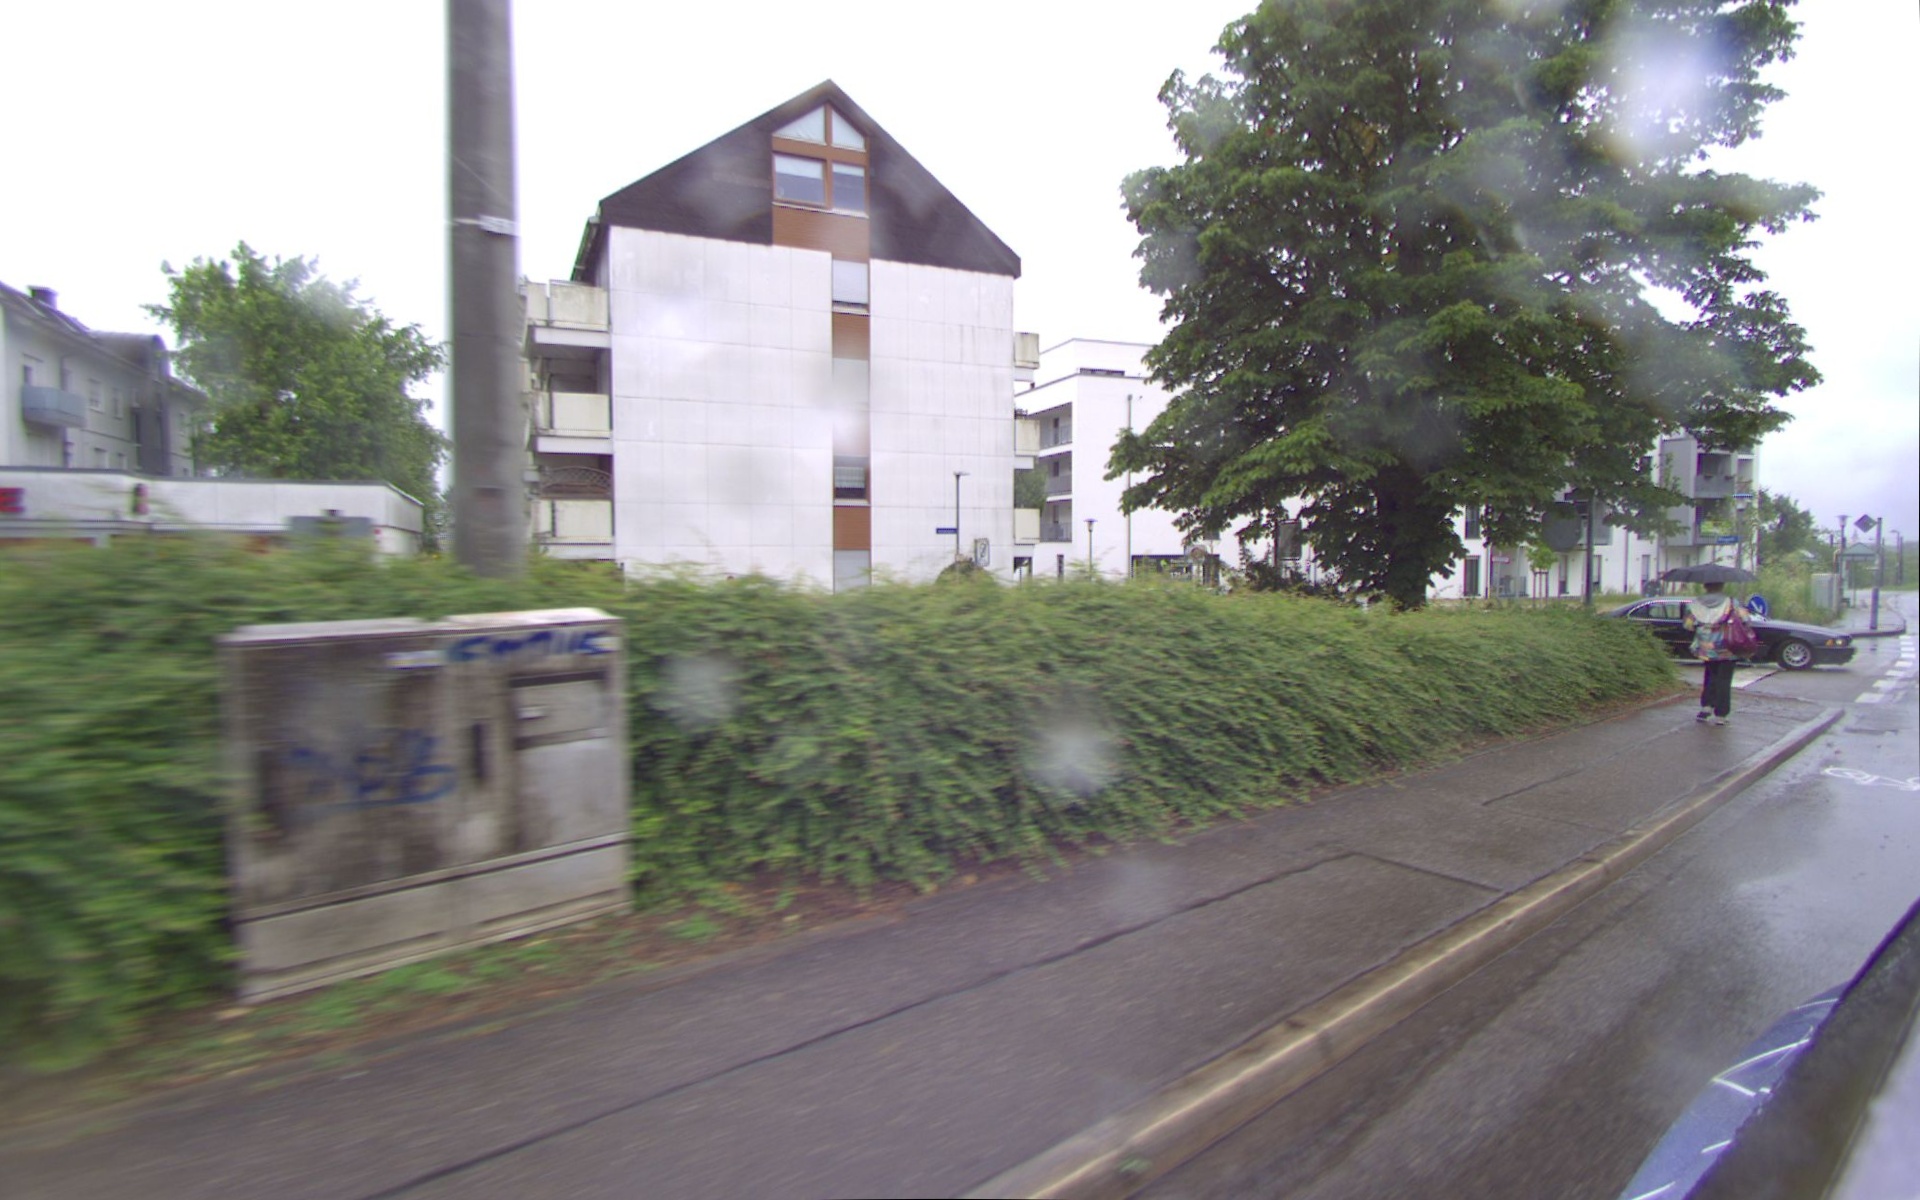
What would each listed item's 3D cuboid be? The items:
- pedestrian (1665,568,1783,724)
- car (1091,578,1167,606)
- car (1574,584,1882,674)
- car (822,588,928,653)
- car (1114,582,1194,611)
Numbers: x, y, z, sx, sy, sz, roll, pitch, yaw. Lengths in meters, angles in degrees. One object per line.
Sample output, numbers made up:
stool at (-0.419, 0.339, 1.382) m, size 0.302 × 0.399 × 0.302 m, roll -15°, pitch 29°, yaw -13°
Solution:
pedestrian at (8.116, 0.459, 10.748) m, size 0.857 × 1.544 × 0.770 m, roll 0°, pitch 3°, yaw -41°
car at (9.611, -0.445, 57.571) m, size 3.916 × 1.439 × 1.764 m, roll 1°, pitch 2°, yaw -23°
car at (15.801, 0.501, 21.075) m, size 1.776 × 1.431 × 4.807 m, roll 0°, pitch 3°, yaw -41°
car at (-2.265, 0.480, 26.102) m, size 1.632 × 1.427 × 3.671 m, roll 1°, pitch 2°, yaw -23°
car at (10.590, -0.203, 55.214) m, size 3.916 × 1.439 × 1.764 m, roll 1°, pitch 2°, yaw -23°
